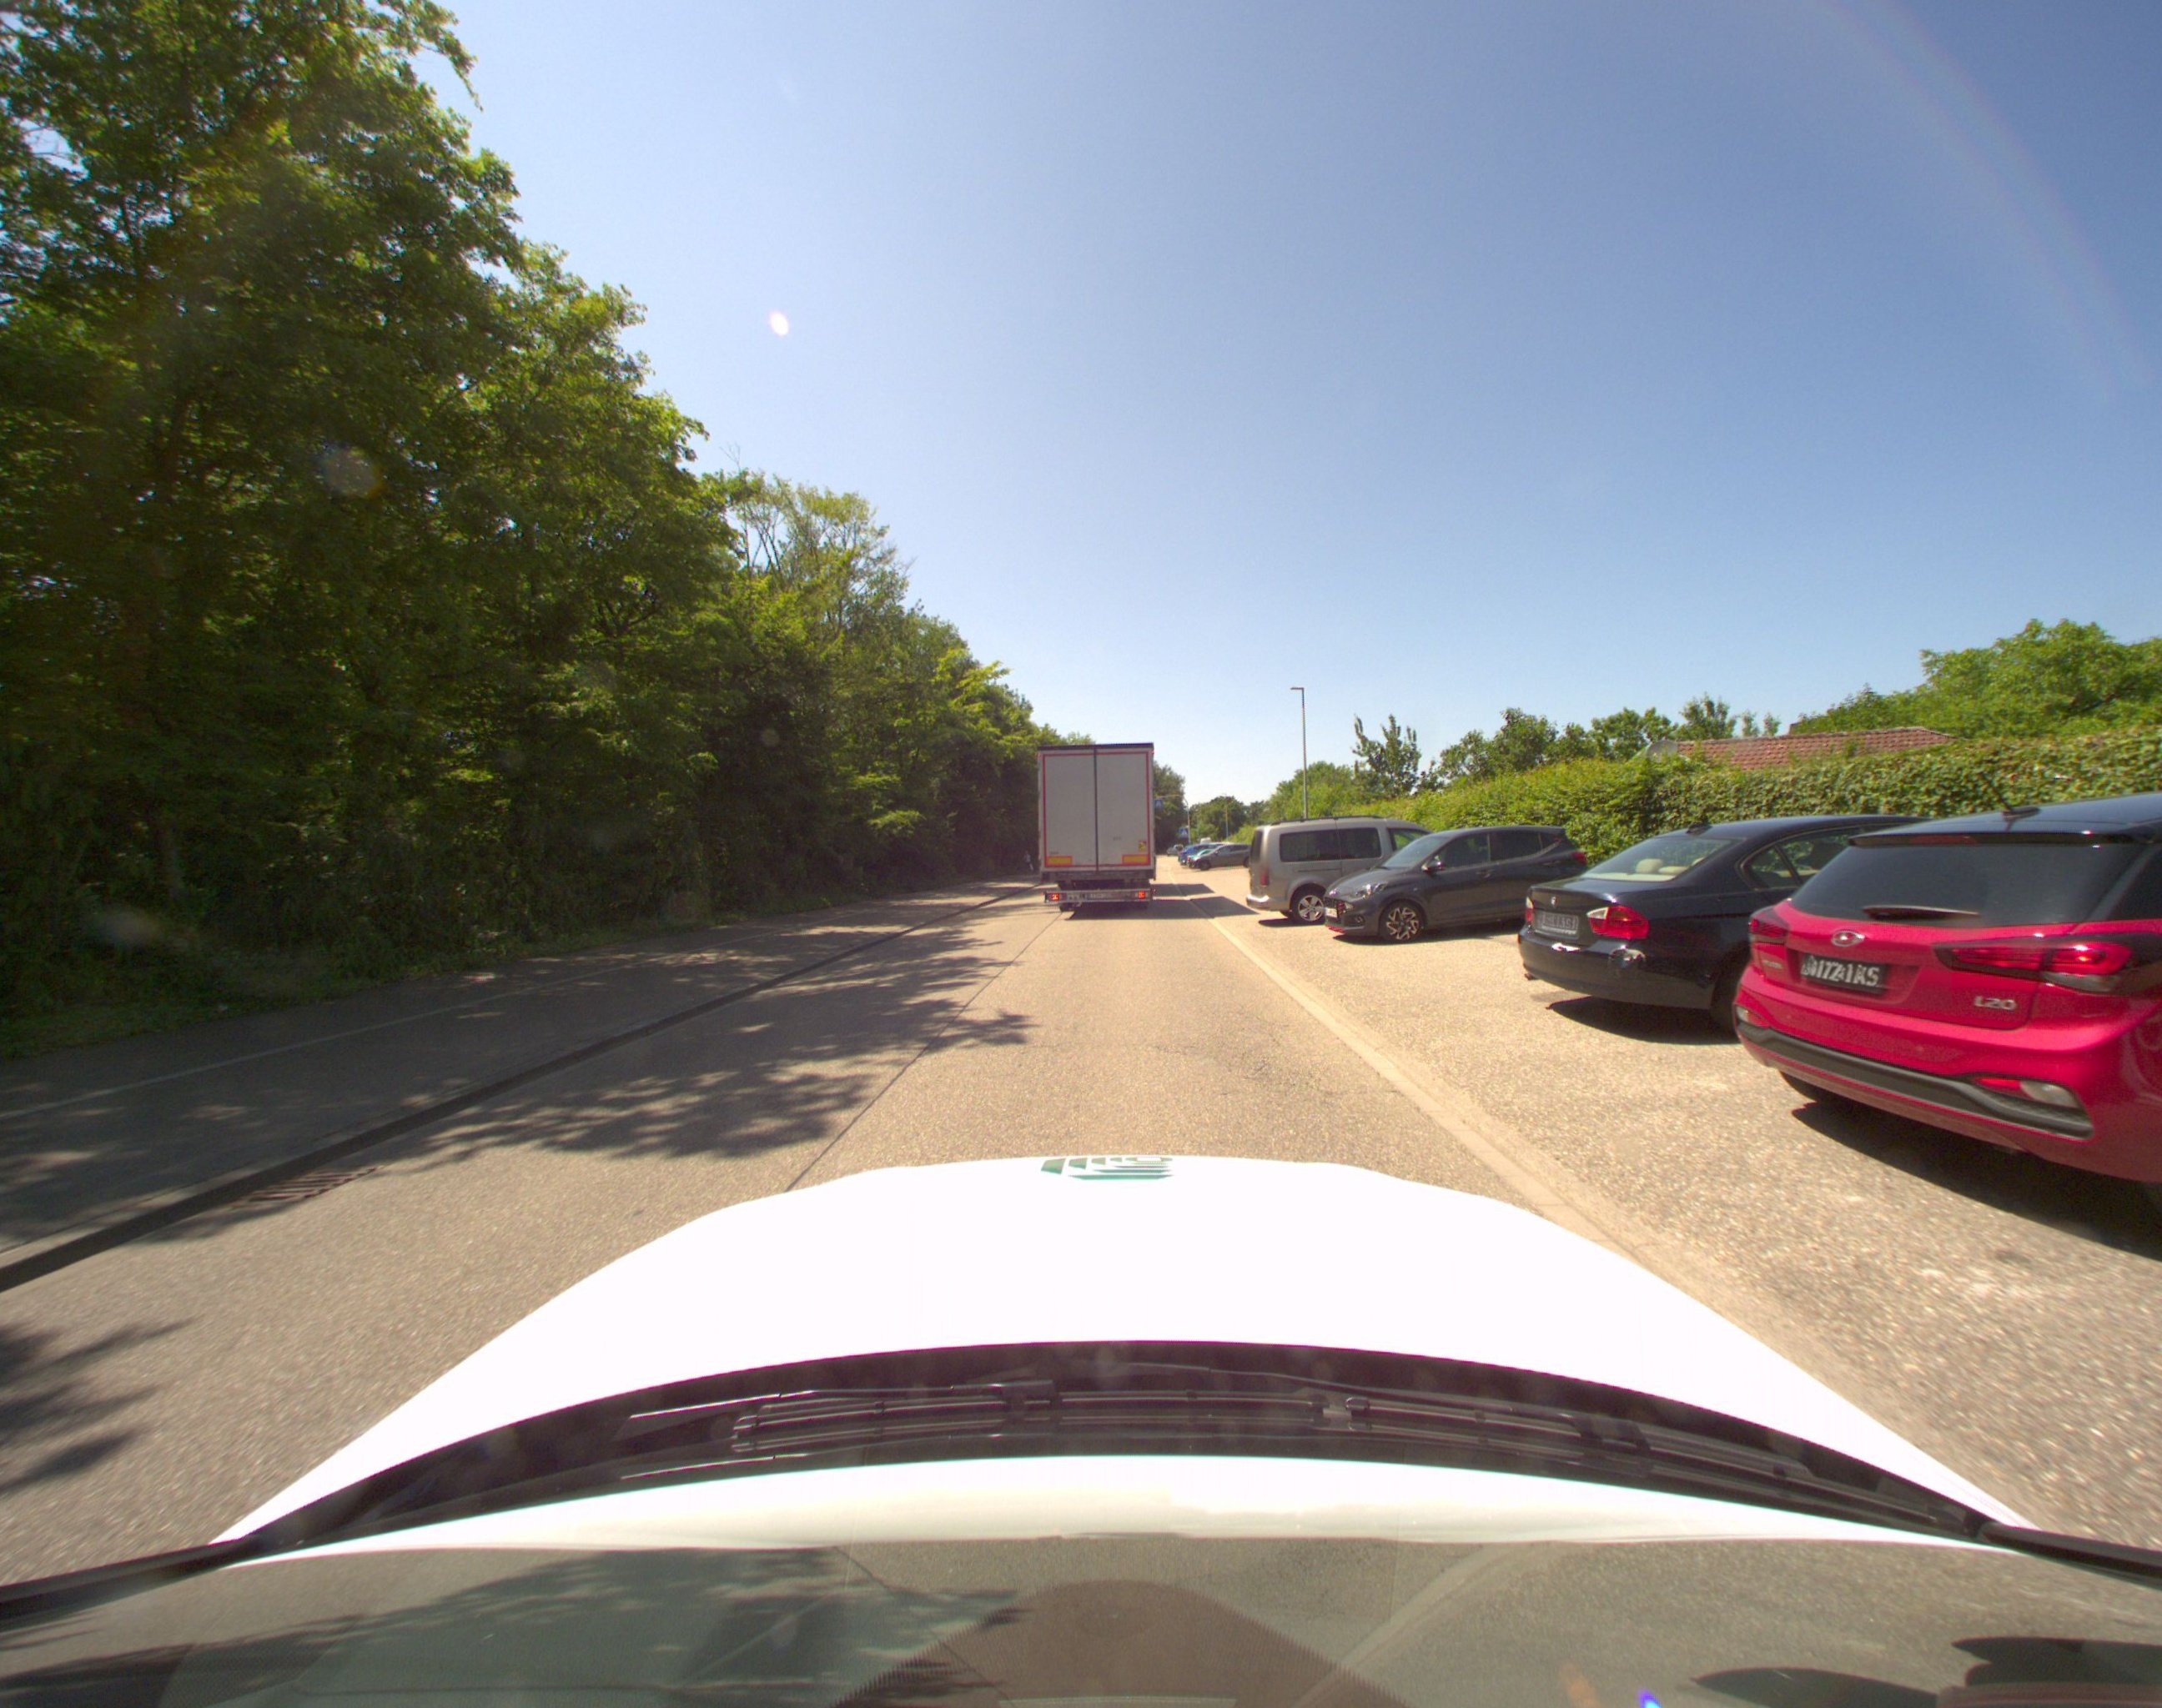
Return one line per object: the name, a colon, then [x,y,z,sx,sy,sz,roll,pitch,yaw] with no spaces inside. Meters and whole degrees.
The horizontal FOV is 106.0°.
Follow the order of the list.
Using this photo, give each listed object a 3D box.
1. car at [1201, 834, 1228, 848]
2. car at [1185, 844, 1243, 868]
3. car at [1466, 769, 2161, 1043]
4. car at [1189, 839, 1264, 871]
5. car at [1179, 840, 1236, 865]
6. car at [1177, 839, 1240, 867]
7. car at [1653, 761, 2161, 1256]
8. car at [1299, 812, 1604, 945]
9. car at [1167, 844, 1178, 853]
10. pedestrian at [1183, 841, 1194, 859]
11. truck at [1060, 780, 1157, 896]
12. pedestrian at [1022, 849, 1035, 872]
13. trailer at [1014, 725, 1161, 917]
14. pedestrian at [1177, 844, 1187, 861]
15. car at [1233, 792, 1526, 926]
car: [20.932,-1.972,127.690,3.933,1.798,1.818,-5,-2,9]
car: [8.909,0.134,54.776,3.715,1.268,1.631,-5,-1,6]
car: [5.559,0.317,6.316,4.191,1.388,1.840,-6,0,-1]
car: [8.586,0.061,48.494,4.145,1.495,1.885,-5,-1,4]
car: [9.845,-0.119,63.557,4.217,1.654,1.902,-3,-1,4]
car: [8.991,-0.051,57.628,4.218,1.634,1.825,-5,0,4]
car: [5.086,0.329,3.447,3.904,1.478,1.846,-6,0,2]
car: [5.299,0.322,11.981,3.567,1.502,1.840,-5,0,-3]
car: [15.296,-0.933,136.428,1.773,1.486,4.005,-2,1,4]
pedestrian: [11.251,-0.388,85.105,0.901,1.798,0.938,-5,-1,11]
truck: [1.168,-0.561,29.958,3.099,3.725,6.422,-2,0,5]
pedestrian: [-3.734,0.430,58.206,0.824,1.622,0.784,-1,0,4]
trailer: [0.612,-0.727,23.408,3.098,4.102,11.552,-1,0,5]
pedestrian: [10.770,-0.166,86.970,0.816,1.834,0.795,-5,-1,11]
car: [5.347,0.083,15.113,4.601,1.848,1.998,-6,0,3]
